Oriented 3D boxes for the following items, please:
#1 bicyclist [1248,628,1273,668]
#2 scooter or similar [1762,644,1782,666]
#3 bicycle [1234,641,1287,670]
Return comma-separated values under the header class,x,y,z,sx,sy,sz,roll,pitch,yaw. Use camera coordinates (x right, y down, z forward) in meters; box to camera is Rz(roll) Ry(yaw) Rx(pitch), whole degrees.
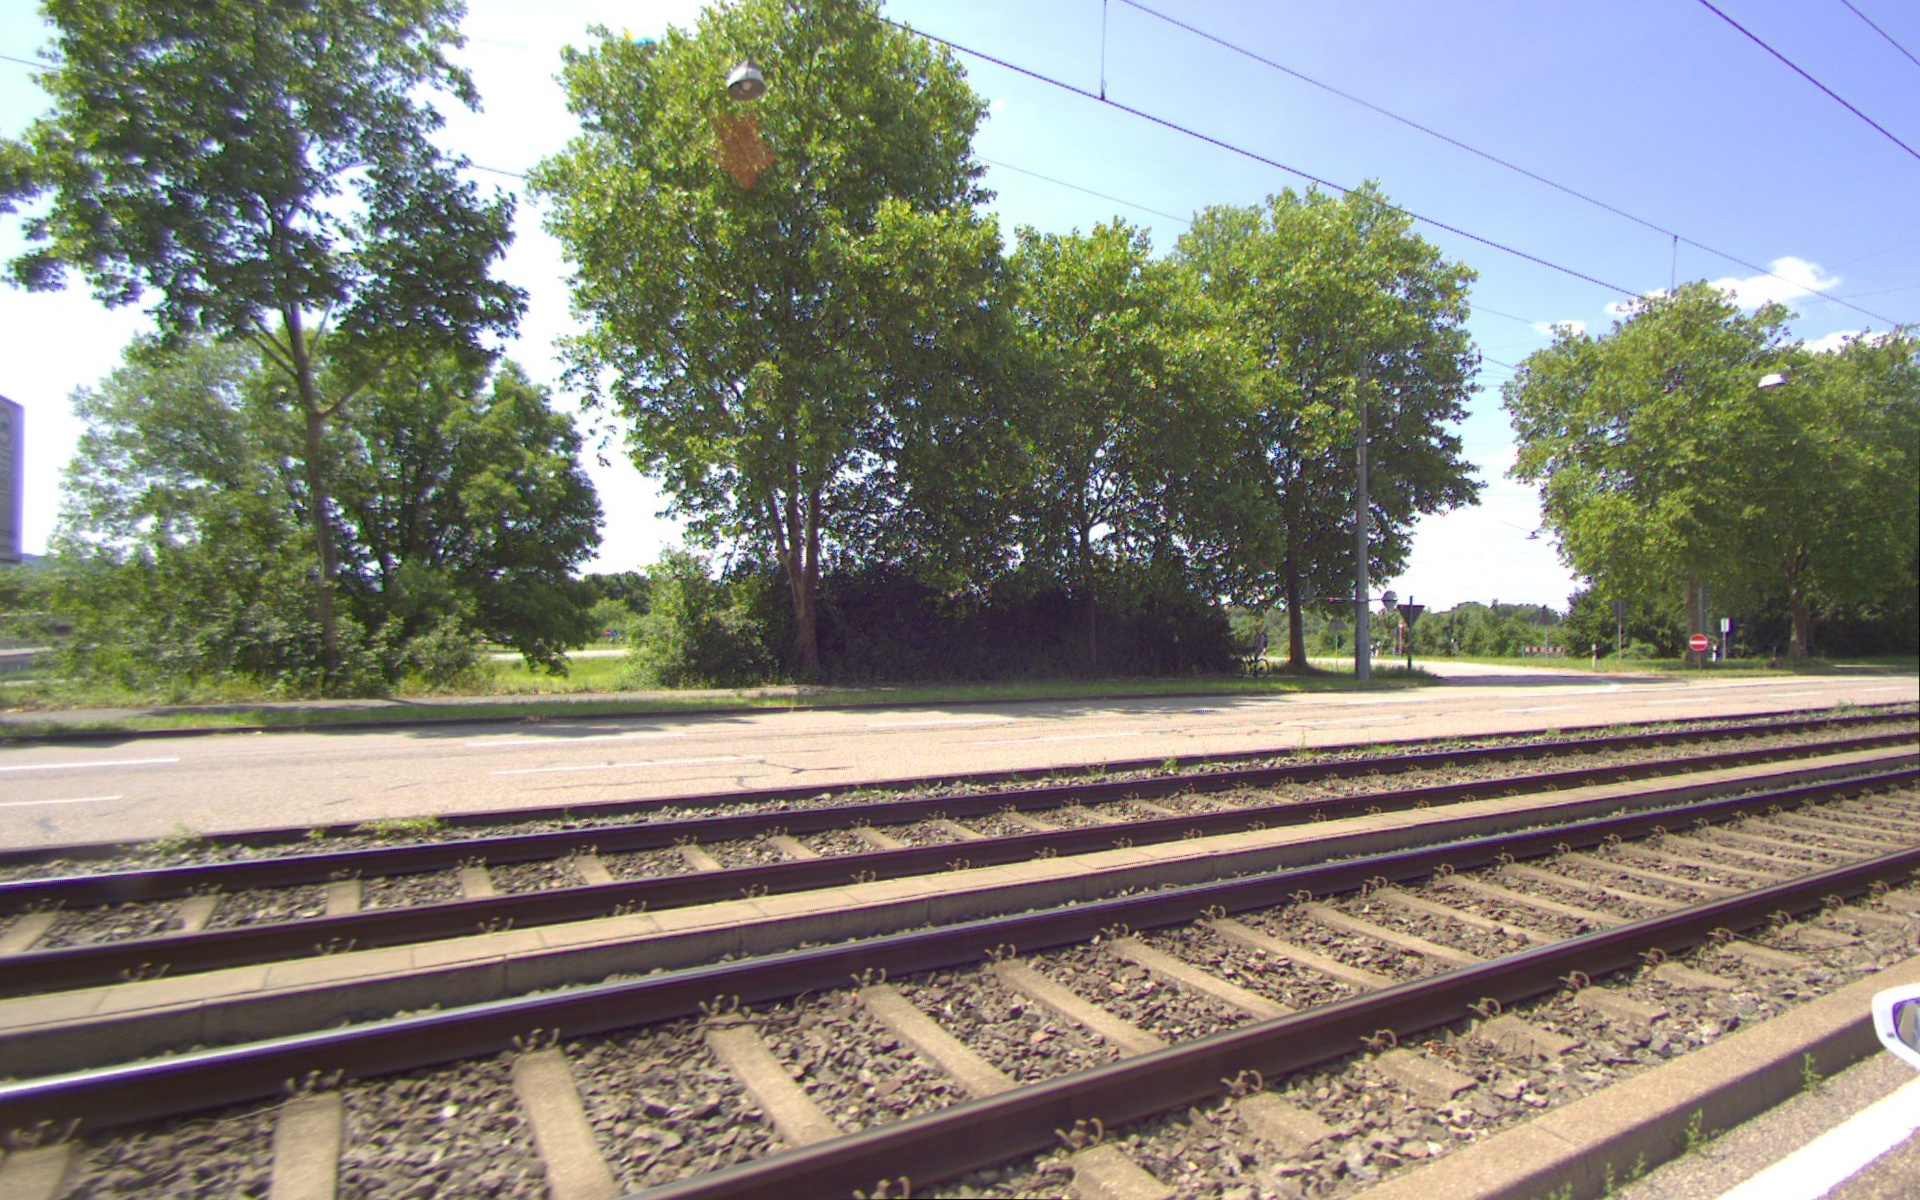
class,x,y,z,sx,sy,sz,roll,pitch,yaw
bicyclist,10.766,1.713,35.992,0.635,1.448,0.585,1,-1,-17
scooter or similar,39.714,2.693,49.147,0.982,1.036,0.298,1,2,-23
bicycle,10.773,1.981,35.992,1.733,1.001,0.731,1,-1,-18
